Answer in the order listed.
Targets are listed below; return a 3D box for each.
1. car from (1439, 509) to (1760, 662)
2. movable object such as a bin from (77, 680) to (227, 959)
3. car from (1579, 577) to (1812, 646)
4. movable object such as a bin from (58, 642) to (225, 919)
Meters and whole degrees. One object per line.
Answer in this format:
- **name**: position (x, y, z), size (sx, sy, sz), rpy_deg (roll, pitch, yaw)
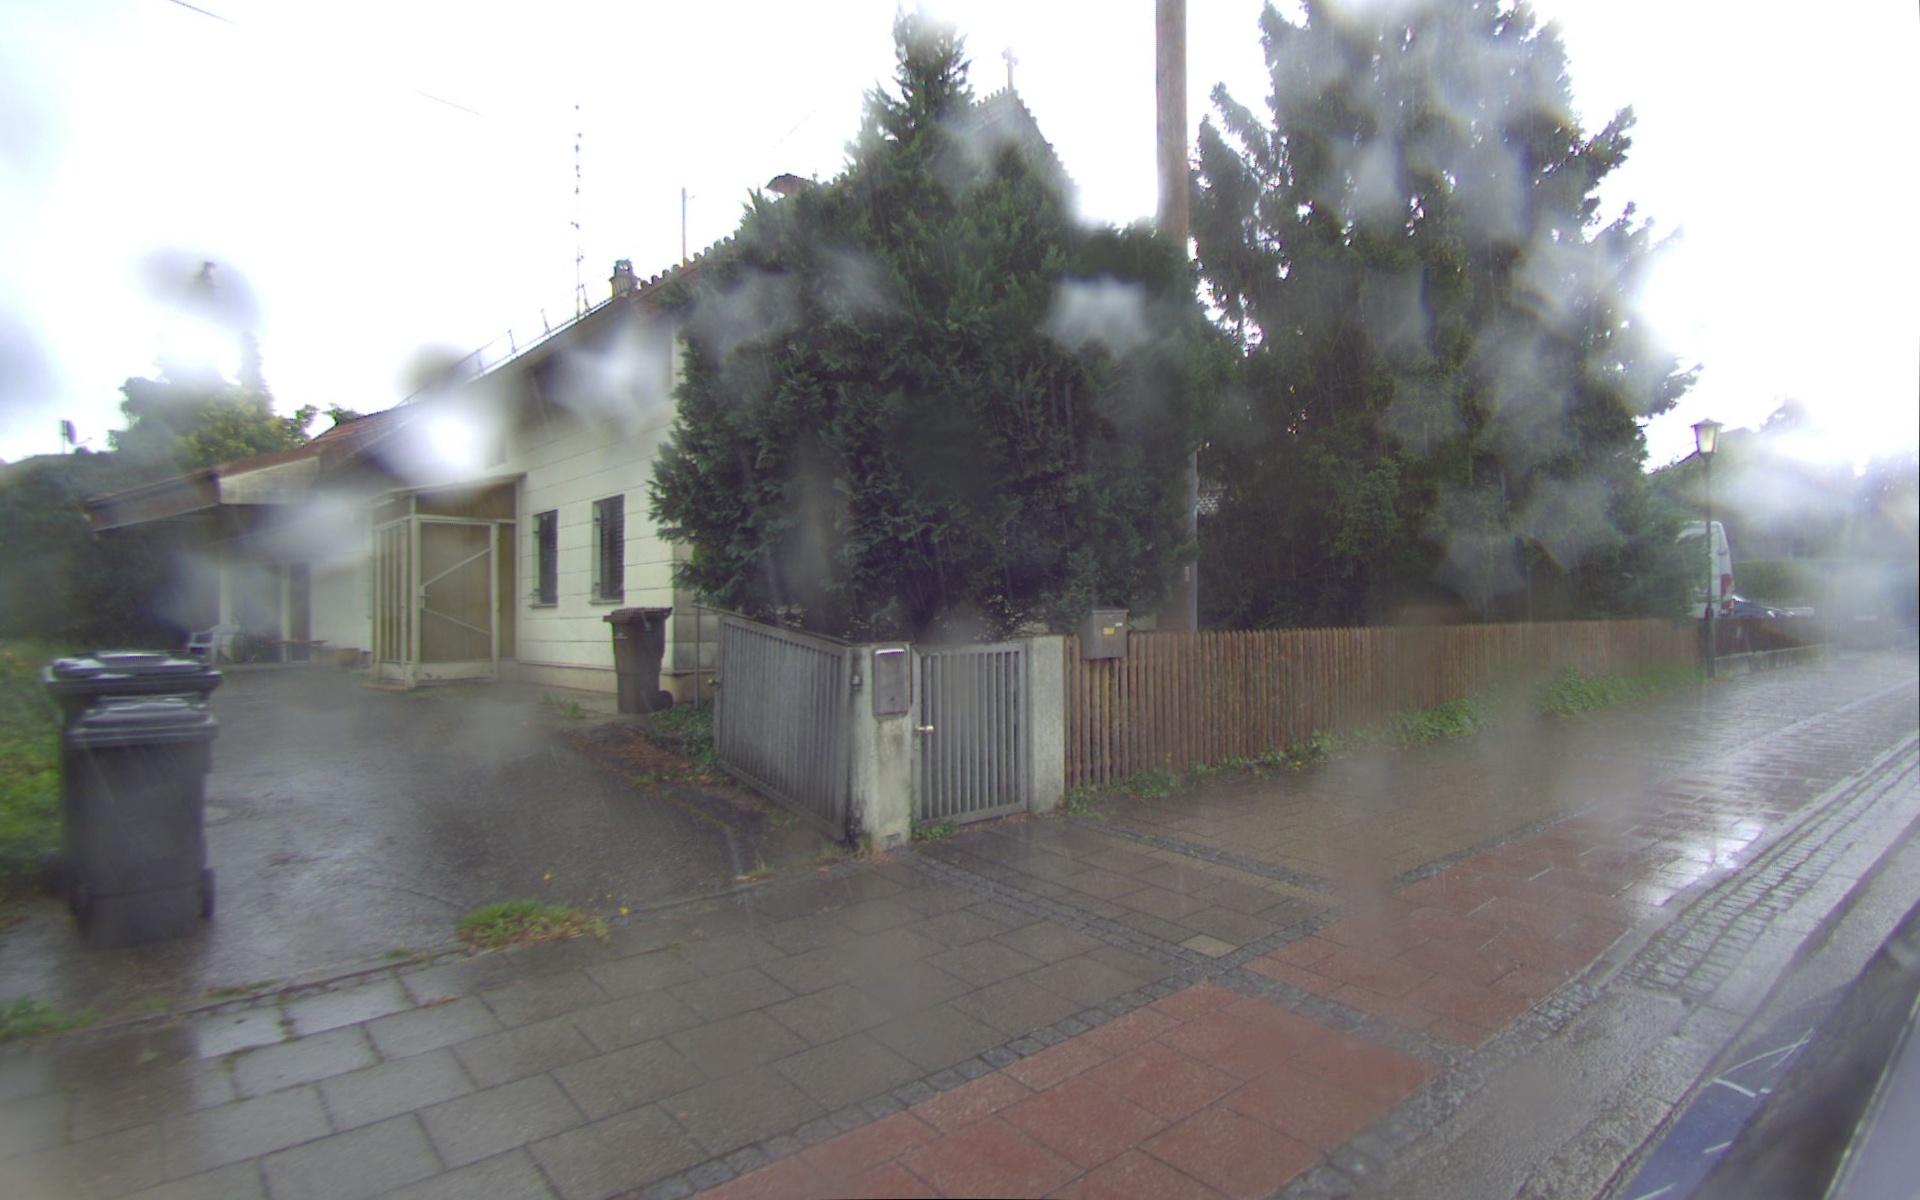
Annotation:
- **car**: position (12.926, -0.365, 20.715), size (5.299, 2.761, 1.971), rpy_deg (3, 2, 41)
- **movable object such as a bin**: position (-3.167, 0.822, 3.976), size (0.439, 0.947, 0.434), rpy_deg (0, 2, -40)
- **car**: position (17.993, 0.212, 24.890), size (4.428, 1.438, 1.802), rpy_deg (3, 3, 43)
- **movable object such as a bin**: position (-3.592, 0.743, 4.460), size (0.543, 1.053, 0.576), rpy_deg (0, 2, -40)
